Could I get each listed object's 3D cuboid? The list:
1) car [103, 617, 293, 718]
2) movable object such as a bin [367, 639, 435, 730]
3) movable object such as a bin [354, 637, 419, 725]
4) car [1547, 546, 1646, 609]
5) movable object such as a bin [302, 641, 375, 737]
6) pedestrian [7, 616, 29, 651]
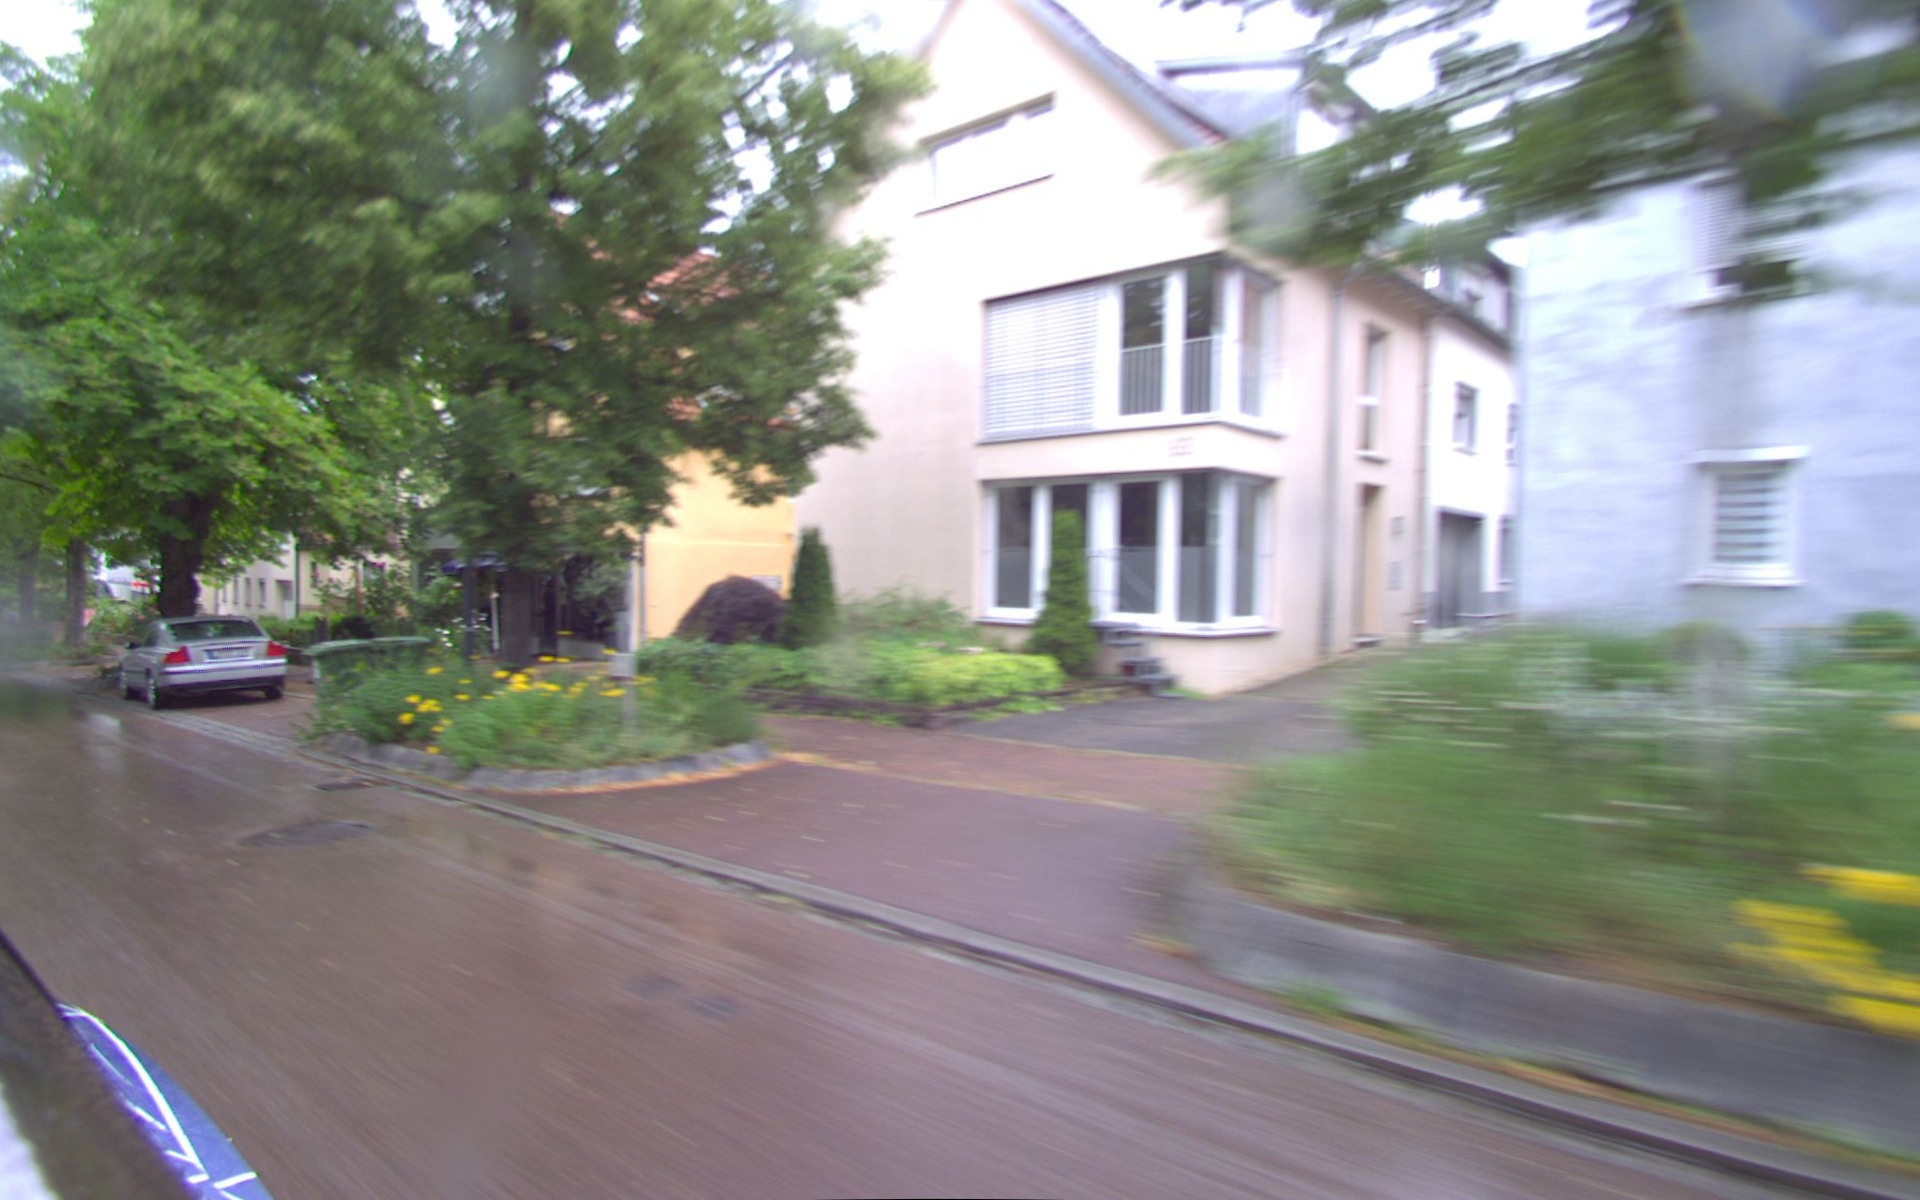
[{"bbox_3d":[-13.026,1.051,17.187,4.545,1.399,1.753,-1,1,43],"label":"car"},{"bbox_3d":[-7.082,1.055,12.818,0.545,1.070,0.588,-1,1,45],"label":"movable object such as a bin"},{"bbox_3d":[-7.511,1.046,13.258,0.545,1.070,0.588,-1,1,45],"label":"movable object such as a bin"},{"bbox_3d":[20.224,-0.731,32.080,3.941,1.871,1.810,-2,1,-45],"label":"car"},{"bbox_3d":[-7.565,1.062,12.313,0.545,1.070,0.588,-2,2,45],"label":"movable object such as a bin"},{"bbox_3d":[-43.640,1.535,46.889,0.932,1.606,0.643,-1,0,41],"label":"pedestrian"}]
